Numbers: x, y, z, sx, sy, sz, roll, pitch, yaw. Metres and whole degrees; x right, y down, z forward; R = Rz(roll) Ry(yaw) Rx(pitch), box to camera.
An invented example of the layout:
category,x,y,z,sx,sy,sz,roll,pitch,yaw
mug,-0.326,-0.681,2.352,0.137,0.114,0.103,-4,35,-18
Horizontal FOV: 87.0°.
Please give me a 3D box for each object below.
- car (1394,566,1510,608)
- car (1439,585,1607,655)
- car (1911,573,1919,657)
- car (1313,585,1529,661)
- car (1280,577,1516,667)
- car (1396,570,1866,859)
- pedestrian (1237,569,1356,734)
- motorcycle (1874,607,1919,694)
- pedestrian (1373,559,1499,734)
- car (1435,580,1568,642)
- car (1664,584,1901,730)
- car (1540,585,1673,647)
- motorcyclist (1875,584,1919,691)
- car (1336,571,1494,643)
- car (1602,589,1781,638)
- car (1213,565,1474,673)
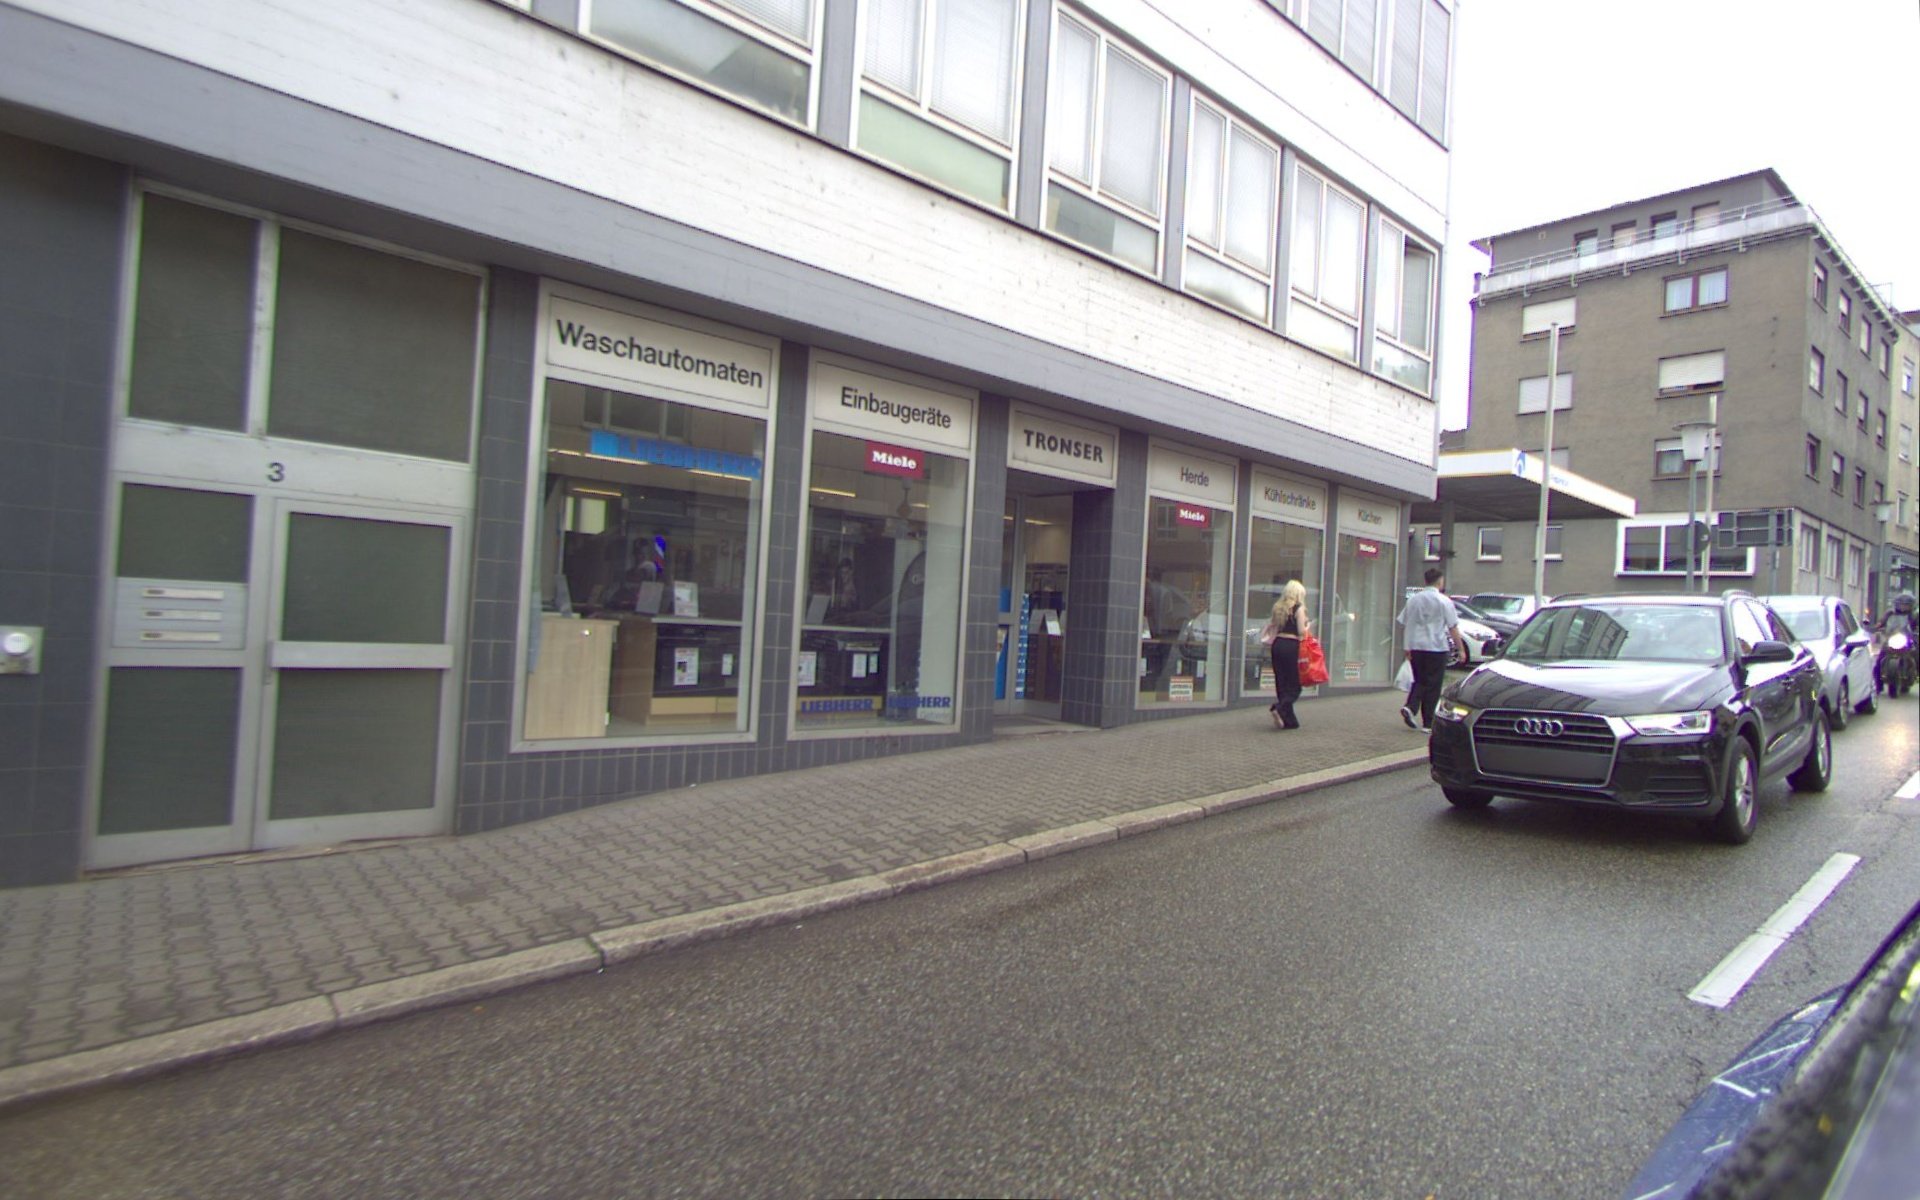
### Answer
category,x,y,z,sx,sy,sz,roll,pitch,yaw
car,19.672,-0.533,40.539,1.761,1.472,3.754,3,1,-37
car,13.192,0.403,23.605,4.530,1.433,1.793,0,2,-38
car,23.952,0.356,23.828,3.699,1.927,1.847,0,1,-40
car,9.798,0.424,21.626,3.976,1.418,1.650,2,1,36
car,8.466,0.352,19.685,3.973,1.549,1.742,2,1,34
car,5.171,0.642,7.590,4.127,1.580,1.826,0,-1,-40
pedestrian,3.447,0.487,10.363,0.876,1.569,0.766,-1,4,-43
motorcycle,14.782,0.746,15.644,0.845,1.241,2.335,-2,-1,44
pedestrian,5.066,0.446,10.769,1.102,1.726,0.785,-1,4,-43
car,15.591,0.338,29.056,4.339,1.530,1.793,2,4,-40
car,10.630,0.629,12.973,4.182,1.561,1.827,0,-2,-44
car,17.543,0.387,27.388,4.358,1.530,1.792,0,1,-40
motorcyclist,14.833,0.565,15.722,0.845,1.610,0.947,-2,-2,45
car,11.567,0.204,25.592,4.411,1.563,1.793,2,4,-40
car,24.582,0.436,34.160,1.962,1.523,4.534,0,0,-36
car,6.731,0.257,17.891,3.974,1.467,1.777,6,3,33
